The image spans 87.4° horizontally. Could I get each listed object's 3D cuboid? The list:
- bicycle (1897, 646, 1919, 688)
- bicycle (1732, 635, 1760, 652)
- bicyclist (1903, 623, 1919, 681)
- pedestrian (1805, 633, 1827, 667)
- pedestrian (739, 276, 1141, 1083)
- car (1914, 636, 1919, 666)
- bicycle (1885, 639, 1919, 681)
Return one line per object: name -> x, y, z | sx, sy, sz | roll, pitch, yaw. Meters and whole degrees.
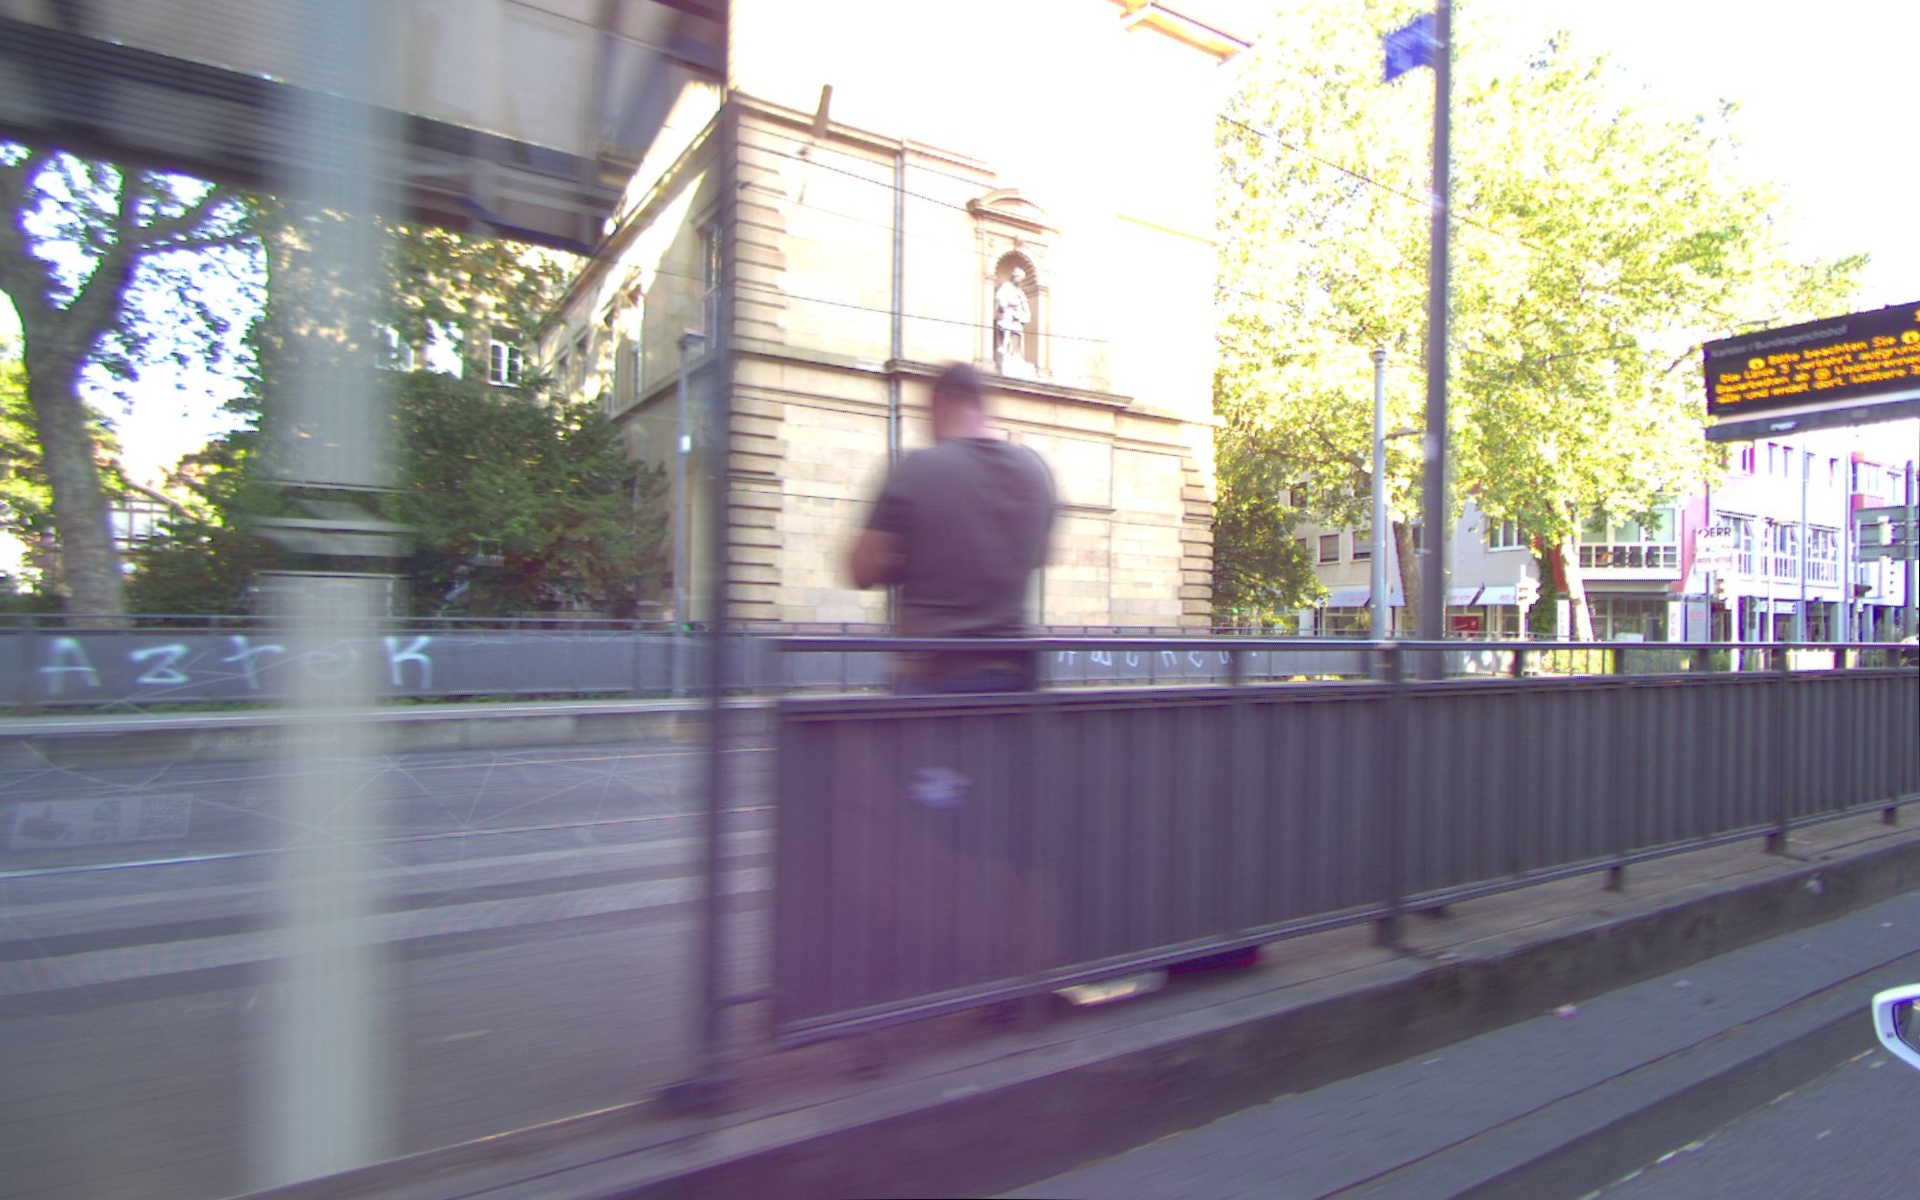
bicycle -> 25.983, 1.817, 26.368 | 0.577, 1.092, 1.885 | 2, 1, -29
bicycle -> 33.164, 1.832, 42.376 | 1.793, 0.667, 0.452 | 2, 1, -36
bicyclist -> 26.690, 1.437, 27.854 | 0.734, 1.599, 0.531 | 0, -1, 40
pedestrian -> 44.165, 2.590, 51.819 | 0.609, 1.734, 0.738 | 1, -1, -34
pedestrian -> -0.059, 0.180, 2.646 | 0.840, 1.734, 0.619 | 1, -1, -31
car -> 48.654, 2.550, 49.130 | 4.657, 1.458, 1.858 | 2, 0, -33
bicycle -> 26.836, 1.691, 27.706 | 1.871, 1.092, 0.581 | 4, 2, 41
